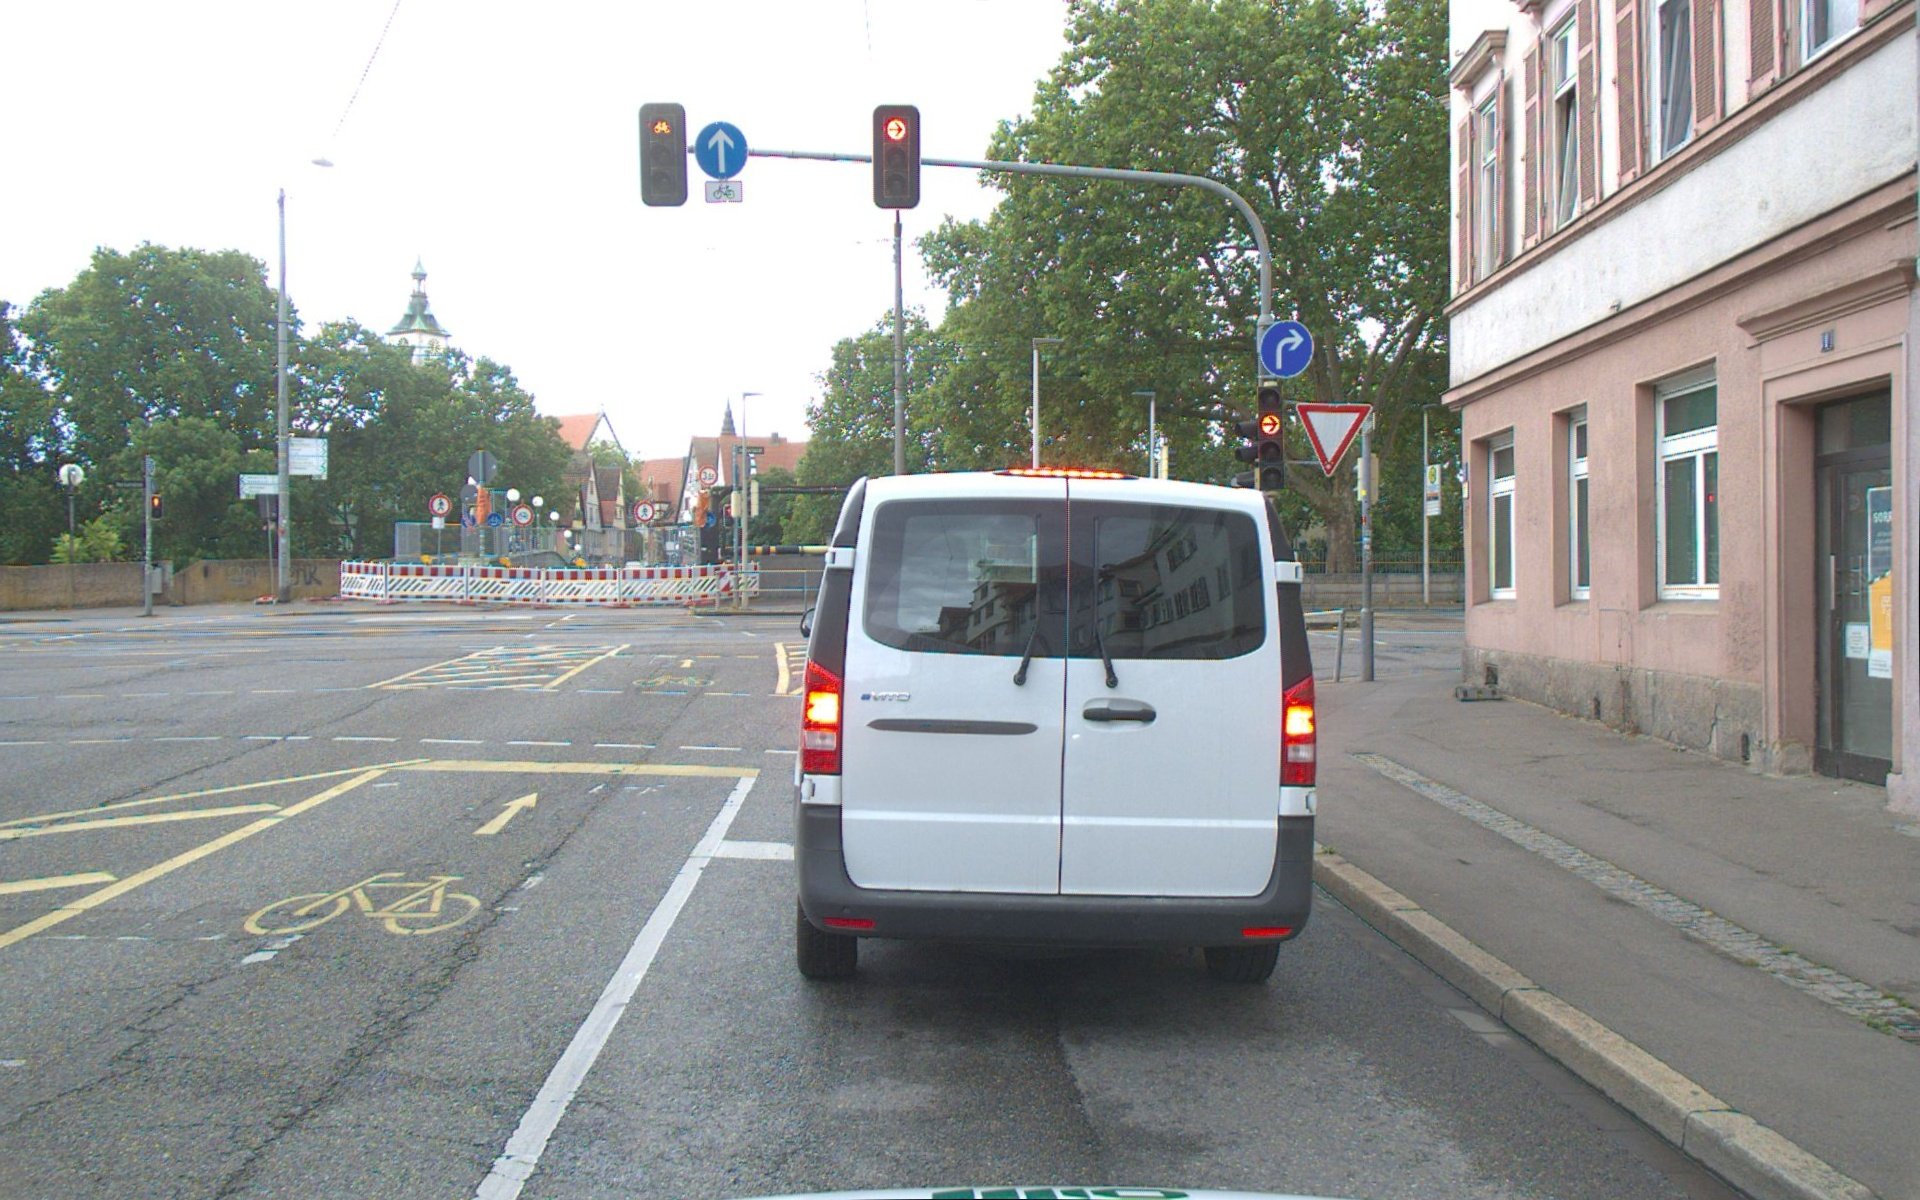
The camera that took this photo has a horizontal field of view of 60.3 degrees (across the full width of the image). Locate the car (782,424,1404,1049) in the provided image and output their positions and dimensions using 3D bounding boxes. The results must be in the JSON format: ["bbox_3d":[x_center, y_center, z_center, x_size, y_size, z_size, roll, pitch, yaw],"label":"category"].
[{"bbox_3d":[0.305,0.367,7.352,1.954,1.956,4.247,1,2,-3],"label":"car"}]

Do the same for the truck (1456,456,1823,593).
[{"bbox_3d":[19.392,-2.091,47.279,9.995,3.760,2.267,0,0,-9],"label":"truck"}]
